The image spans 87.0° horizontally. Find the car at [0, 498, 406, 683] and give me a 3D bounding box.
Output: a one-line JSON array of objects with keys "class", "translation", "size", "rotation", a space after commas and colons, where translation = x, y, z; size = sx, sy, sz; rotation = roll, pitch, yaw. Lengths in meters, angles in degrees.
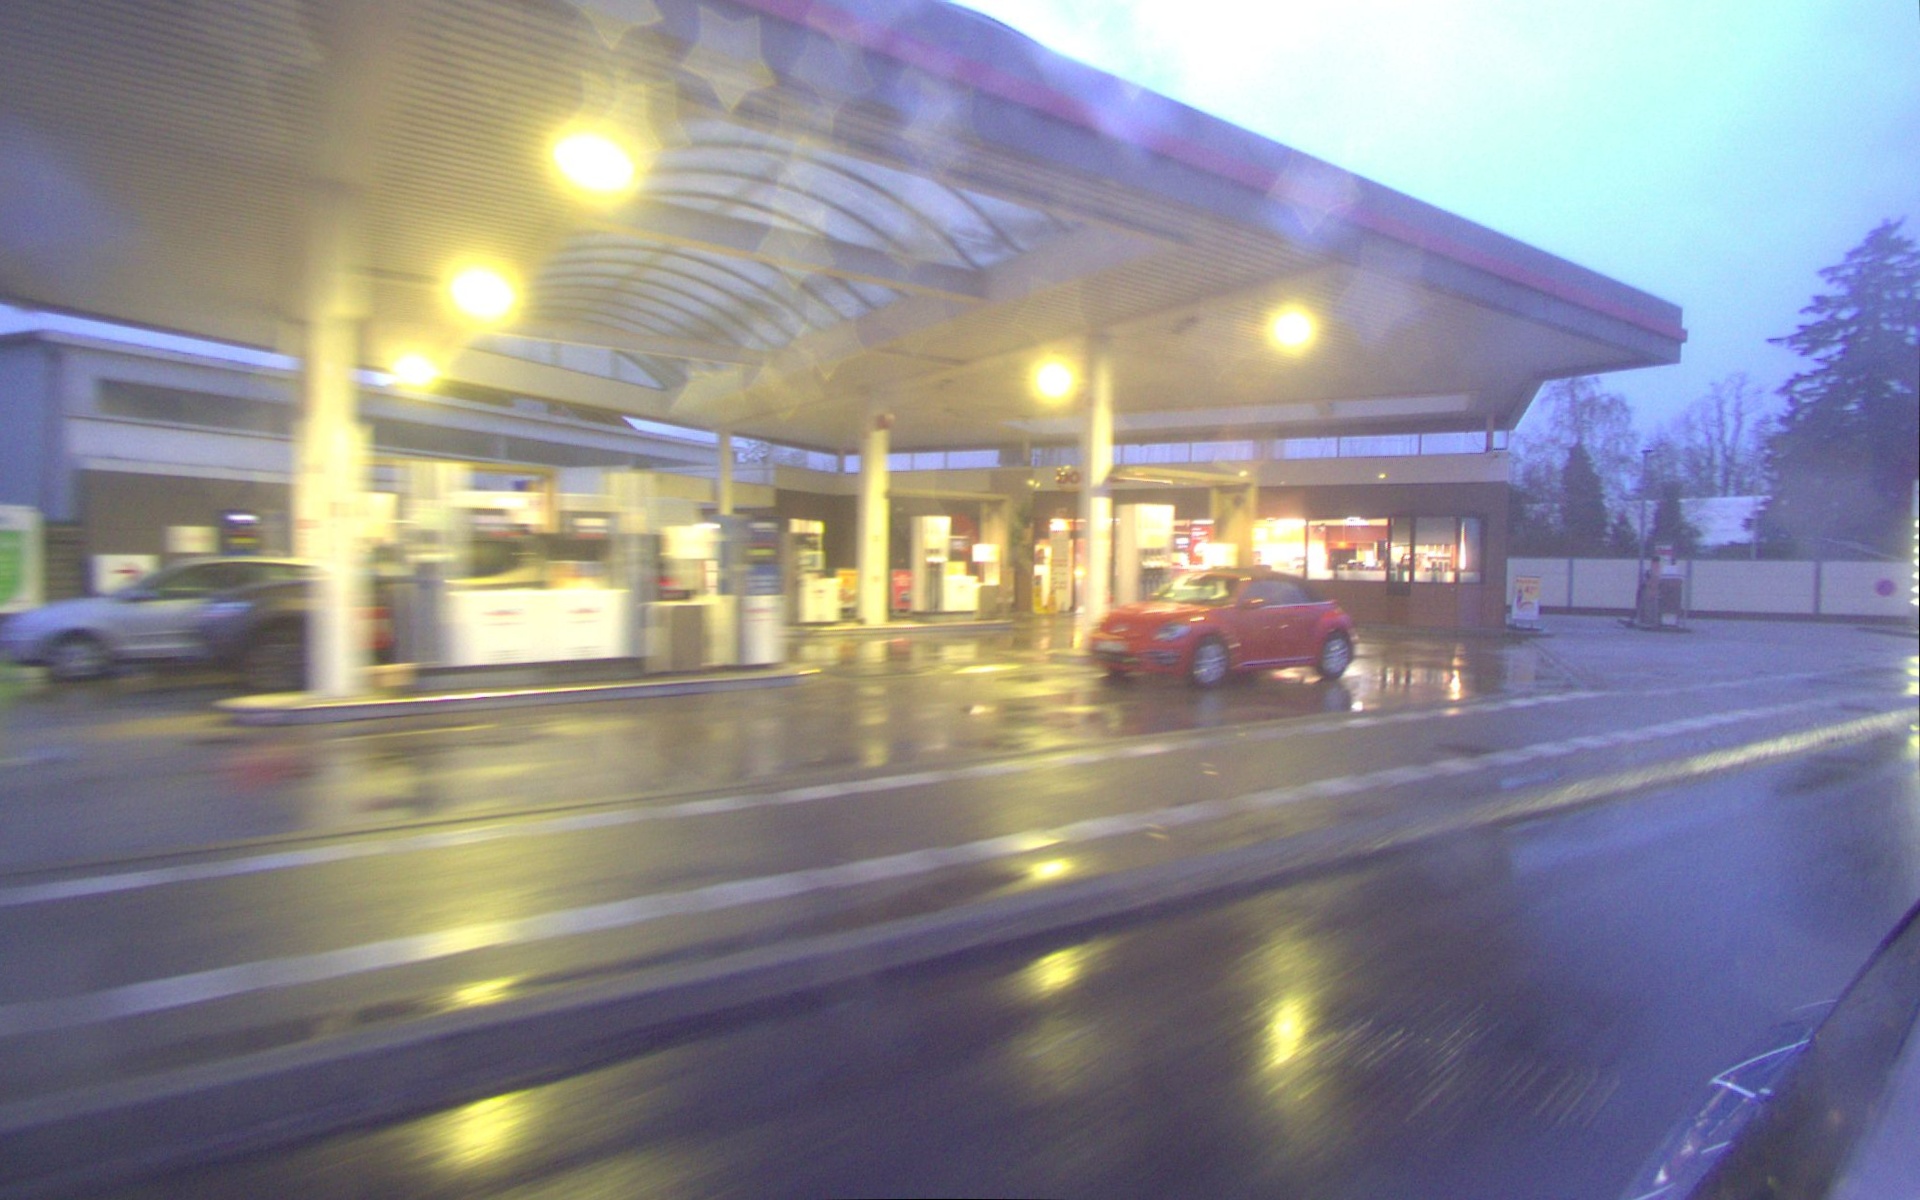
[{"class": "car", "translation": [-9.512, -0.169, 13.119], "size": [3.923, 2.038, 2.001], "rotation": [-1, 2, -34]}]

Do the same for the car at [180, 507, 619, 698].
[{"class": "car", "translation": [-6.450, -0.066, 11.961], "size": [4.216, 1.881, 2.002], "rotation": [-1, 4, -34]}]

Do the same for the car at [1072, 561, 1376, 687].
[{"class": "car", "translation": [3.576, 0.231, 13.460], "size": [4.088, 1.413, 1.579], "rotation": [-1, 3, -34]}]
